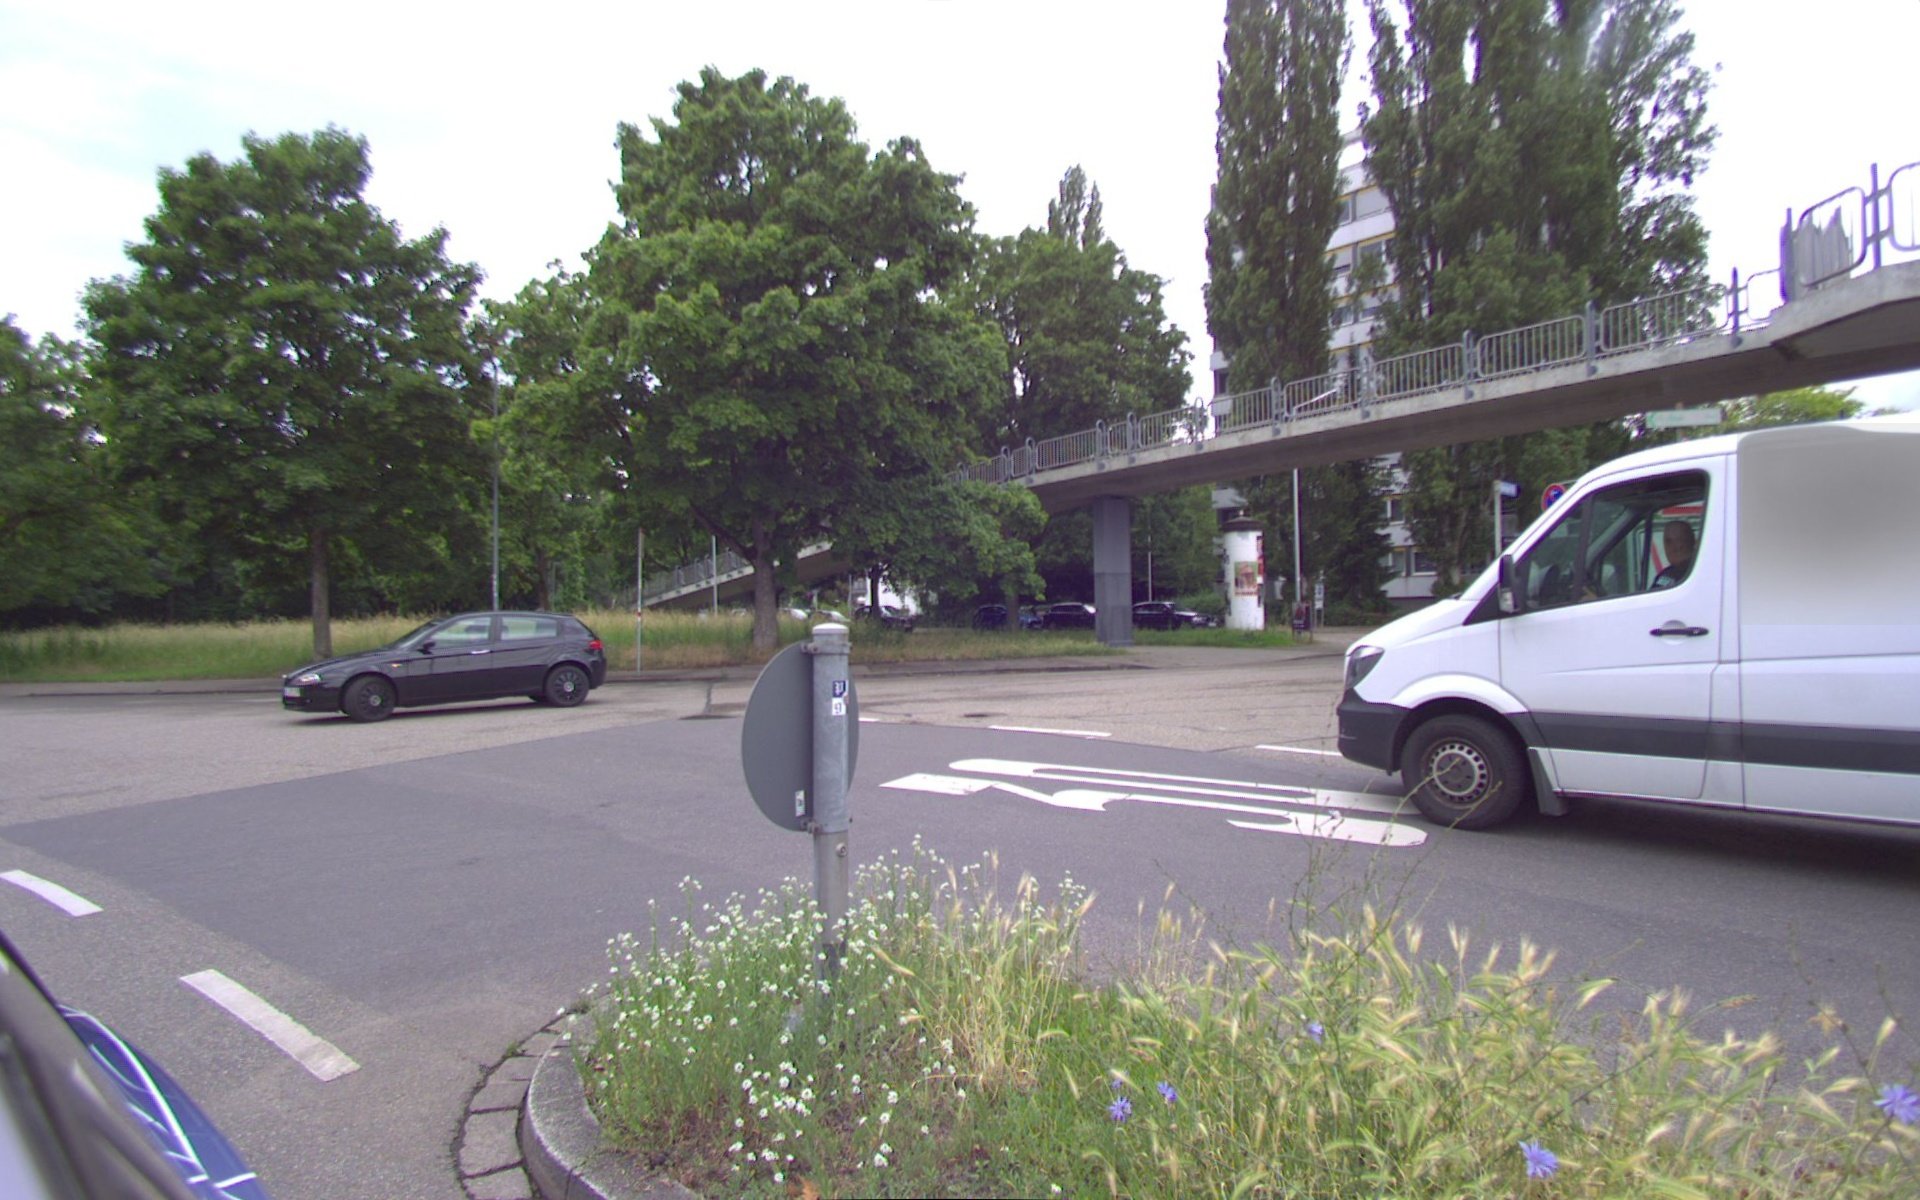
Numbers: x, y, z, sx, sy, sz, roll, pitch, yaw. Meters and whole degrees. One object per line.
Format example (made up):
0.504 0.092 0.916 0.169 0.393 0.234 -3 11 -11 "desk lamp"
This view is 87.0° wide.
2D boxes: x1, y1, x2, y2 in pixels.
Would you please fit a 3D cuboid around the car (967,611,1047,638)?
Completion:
2.279 1.182 49.888 1.667 1.247 4.007 -1 0 -39 "car"

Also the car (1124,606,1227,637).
8.878 0.889 41.943 1.667 1.214 4.007 -1 0 -39 "car"

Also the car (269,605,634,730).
-7.225 0.863 14.574 4.466 1.468 1.808 -1 -1 -36 "car"

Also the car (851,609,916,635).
-4.389 1.252 57.461 1.667 1.361 4.007 -1 0 -39 "car"

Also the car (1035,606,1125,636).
5.428 0.950 46.175 1.667 1.256 4.007 -1 0 -39 "car"

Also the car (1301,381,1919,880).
4.893 0.148 5.720 5.210 2.310 2.110 -2 -1 45 "car"
